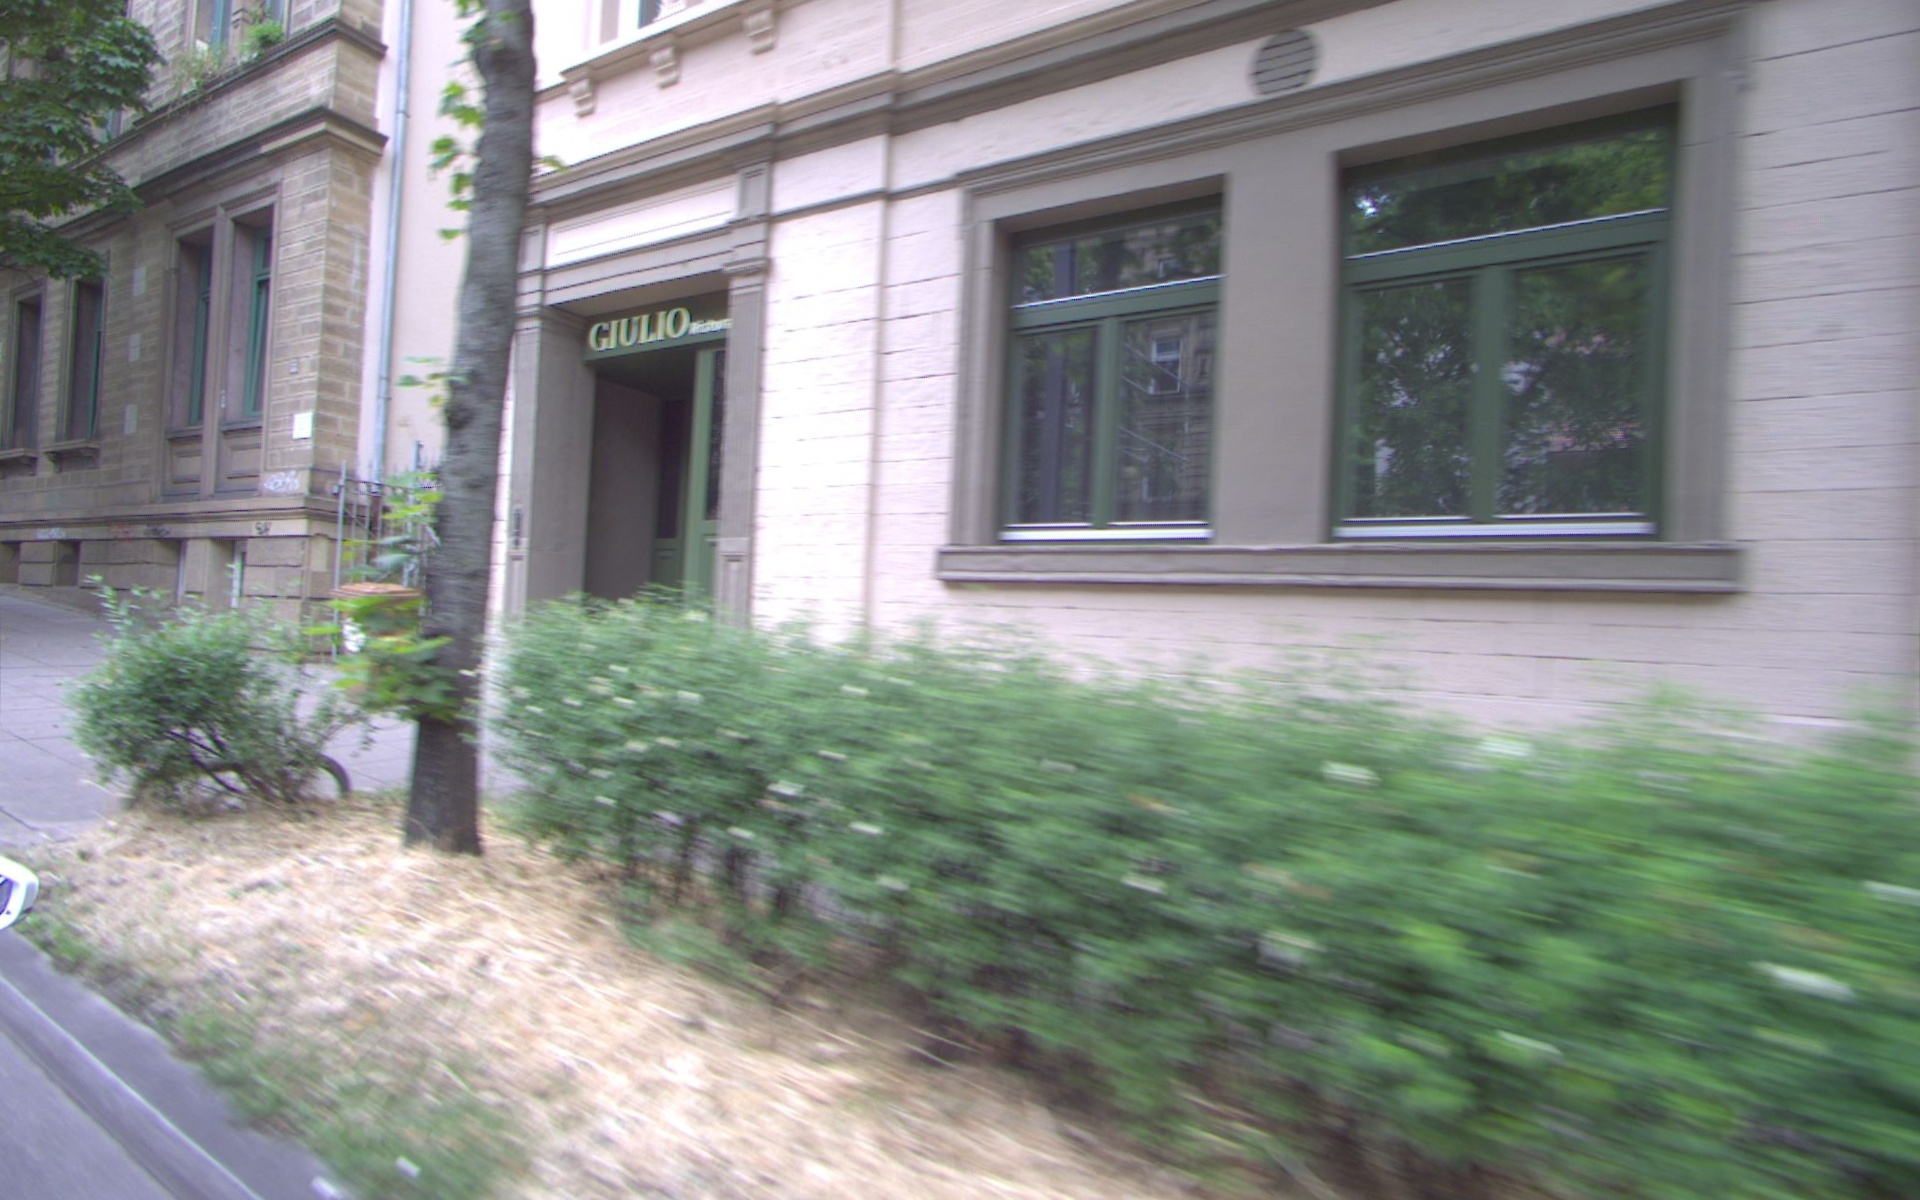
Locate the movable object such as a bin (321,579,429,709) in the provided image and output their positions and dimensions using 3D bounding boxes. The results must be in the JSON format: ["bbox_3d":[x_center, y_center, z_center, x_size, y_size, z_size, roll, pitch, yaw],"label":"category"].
[{"bbox_3d":[-4.598,0.333,7.907,0.506,0.946,0.560,7,4,38],"label":"movable object such as a bin"}]
